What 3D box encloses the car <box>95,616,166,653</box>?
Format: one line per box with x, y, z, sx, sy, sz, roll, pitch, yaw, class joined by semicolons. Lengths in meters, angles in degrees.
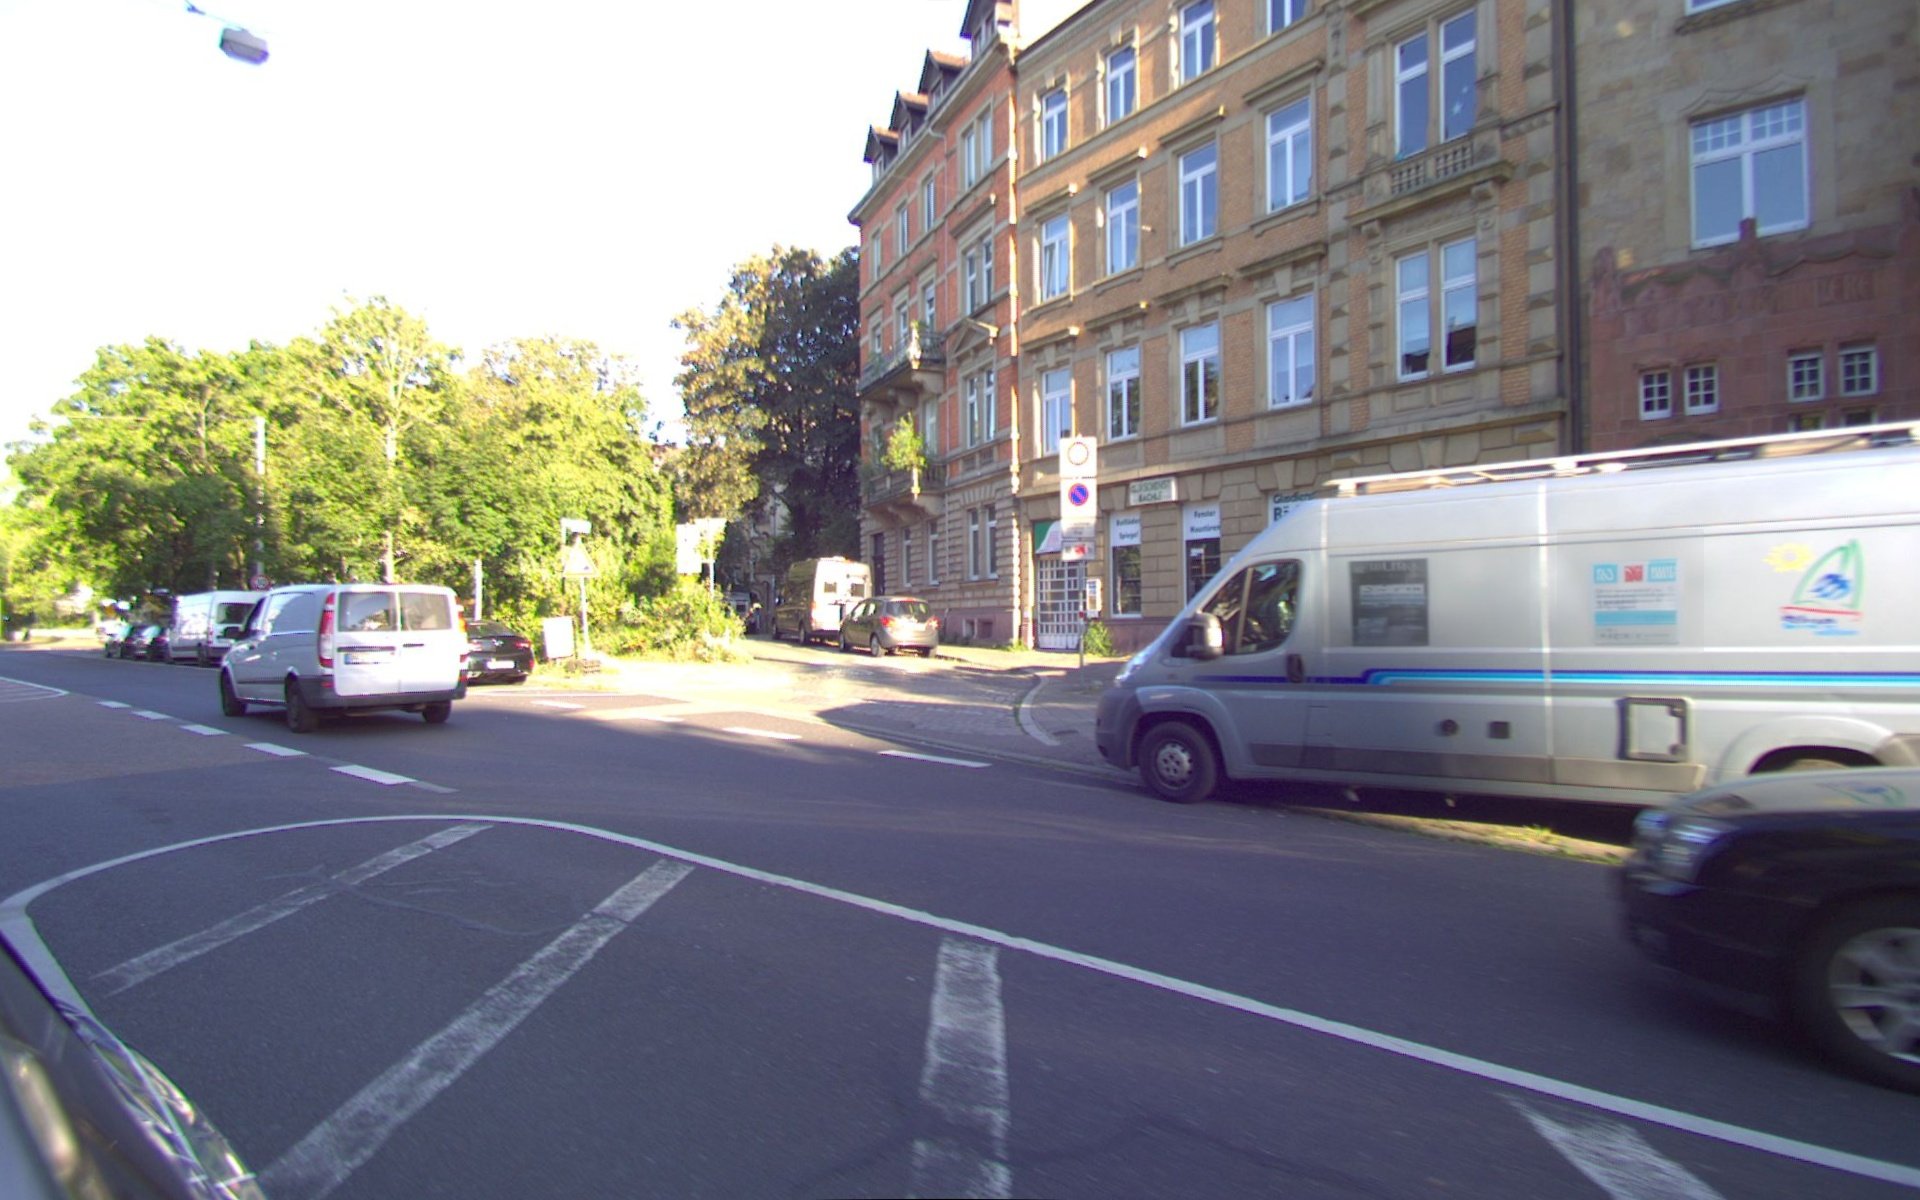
-35.878;1.459;43.733;4.541;1.518;1.607;-1;-2;41;car

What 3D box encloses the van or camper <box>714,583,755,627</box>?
-12.957;0.360;58.278;2.174;2.371;5.322;0;-2;-12;van or camper

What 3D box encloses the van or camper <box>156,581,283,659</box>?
-25.702;0.717;35.015;6.300;2.487;2.070;-2;-2;40;van or camper

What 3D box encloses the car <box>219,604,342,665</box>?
-20.258;1.012;30.120;4.567;1.657;1.847;-1;-2;40;car

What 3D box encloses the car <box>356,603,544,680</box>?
-11.194;0.862;22.067;4.825;1.495;1.973;-1;-1;40;car

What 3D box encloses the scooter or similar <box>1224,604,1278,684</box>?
4.019;0.601;14.034;0.284;1.065;1.119;0;-2;-7;scooter or similar

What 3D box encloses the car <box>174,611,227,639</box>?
-52.171;1.727;69.507;3.992;1.809;1.802;-1;-1;36;car

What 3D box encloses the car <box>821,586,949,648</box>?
-2.170;0.495;27.938;1.965;1.549;4.577;1;-2;-26;car

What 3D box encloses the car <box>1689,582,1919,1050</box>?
4.646;0.635;2.649;4.302;1.397;1.741;-2;-2;41;car

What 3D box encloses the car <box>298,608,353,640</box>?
-46.955;1.770;74.800;5.098;2.306;2.191;-2;-1;43;car

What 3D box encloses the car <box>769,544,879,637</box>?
-4.530;-0.187;32.912;2.090;2.760;5.327;1;-2;-24;car

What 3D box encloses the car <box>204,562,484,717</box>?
-8.939;0.538;14.463;5.167;1.845;1.972;-1;-2;42;car

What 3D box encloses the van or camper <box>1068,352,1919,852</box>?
3.949;0.037;7.592;6.027;2.689;1.976;-1;0;37;van or camper

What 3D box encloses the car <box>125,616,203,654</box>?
-31.737;1.406;40.314;4.238;1.440;1.612;-2;-2;40;car
